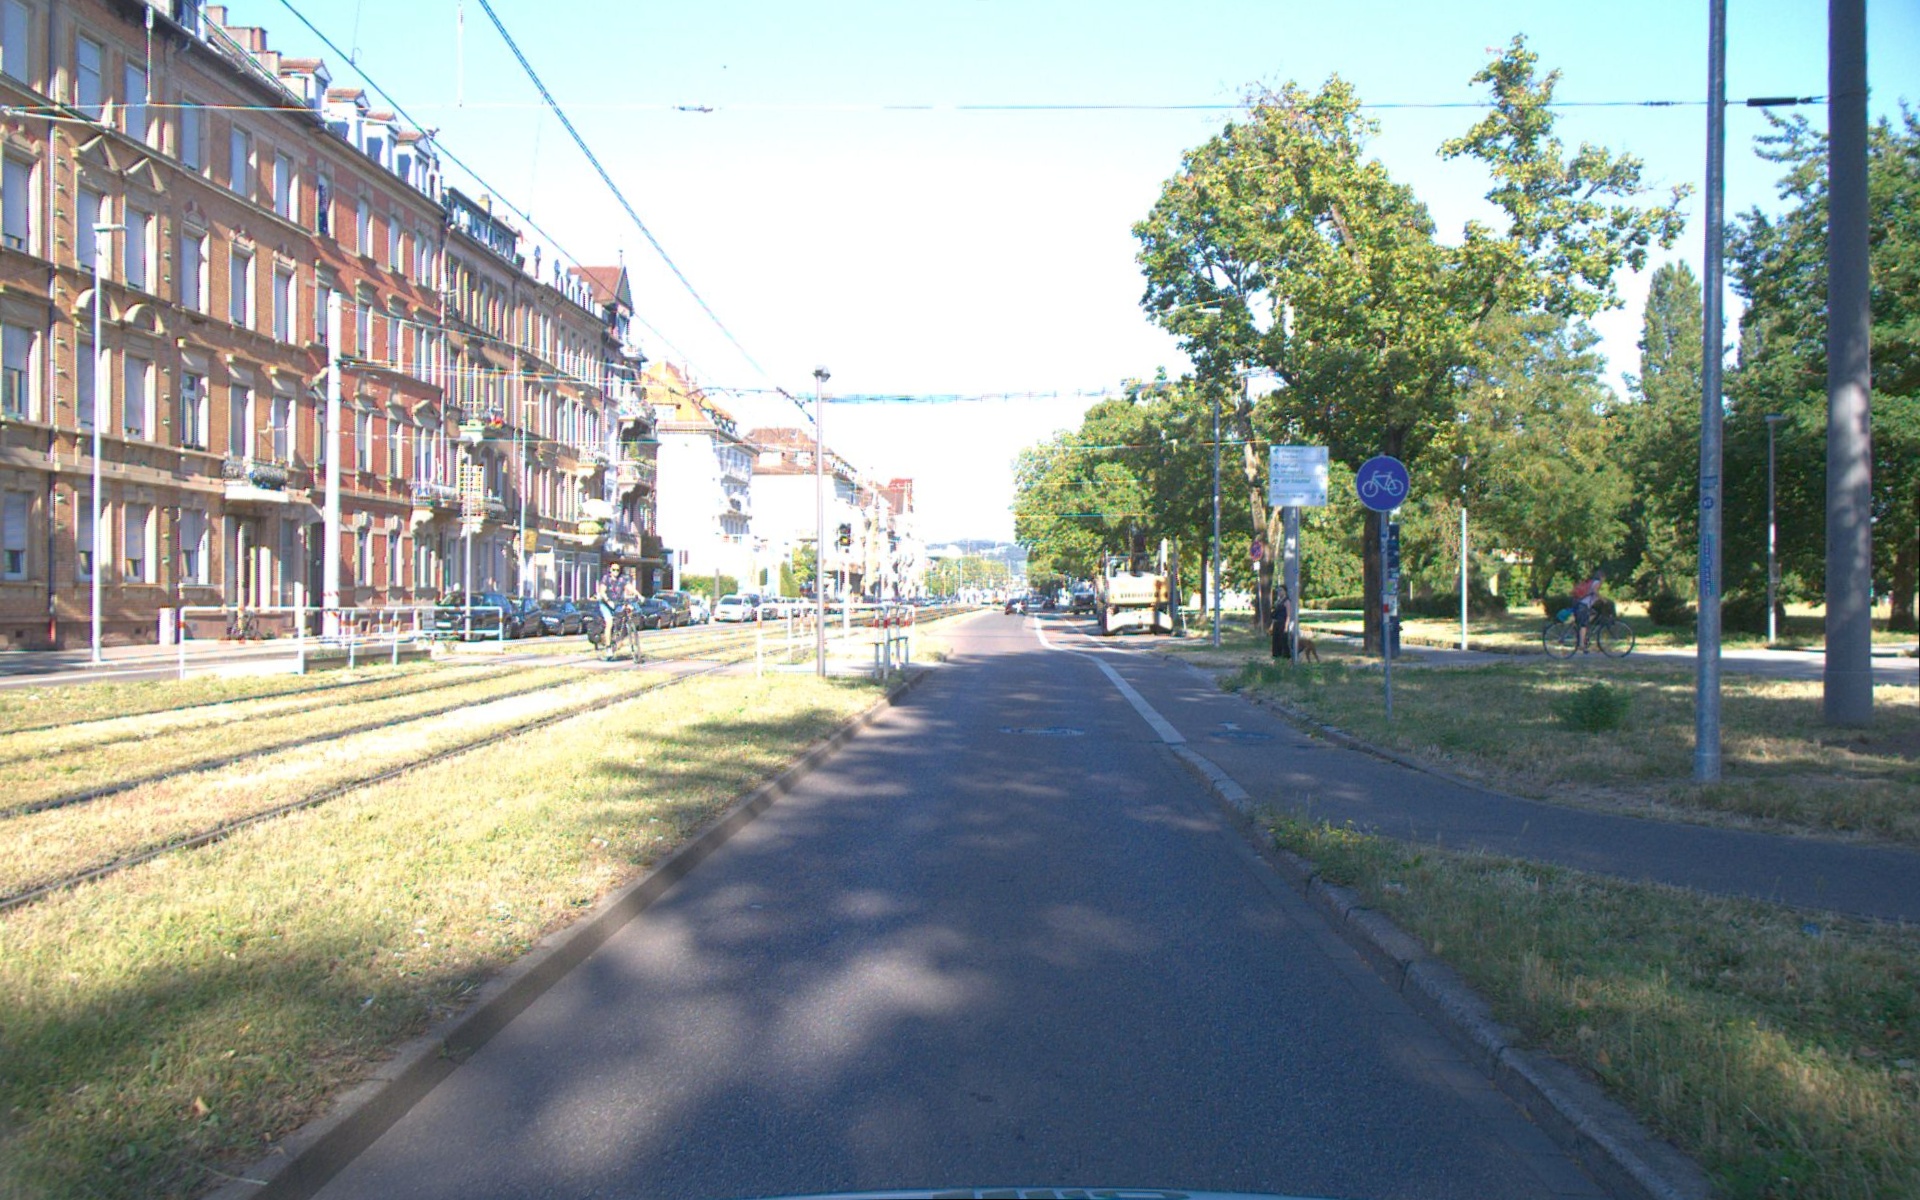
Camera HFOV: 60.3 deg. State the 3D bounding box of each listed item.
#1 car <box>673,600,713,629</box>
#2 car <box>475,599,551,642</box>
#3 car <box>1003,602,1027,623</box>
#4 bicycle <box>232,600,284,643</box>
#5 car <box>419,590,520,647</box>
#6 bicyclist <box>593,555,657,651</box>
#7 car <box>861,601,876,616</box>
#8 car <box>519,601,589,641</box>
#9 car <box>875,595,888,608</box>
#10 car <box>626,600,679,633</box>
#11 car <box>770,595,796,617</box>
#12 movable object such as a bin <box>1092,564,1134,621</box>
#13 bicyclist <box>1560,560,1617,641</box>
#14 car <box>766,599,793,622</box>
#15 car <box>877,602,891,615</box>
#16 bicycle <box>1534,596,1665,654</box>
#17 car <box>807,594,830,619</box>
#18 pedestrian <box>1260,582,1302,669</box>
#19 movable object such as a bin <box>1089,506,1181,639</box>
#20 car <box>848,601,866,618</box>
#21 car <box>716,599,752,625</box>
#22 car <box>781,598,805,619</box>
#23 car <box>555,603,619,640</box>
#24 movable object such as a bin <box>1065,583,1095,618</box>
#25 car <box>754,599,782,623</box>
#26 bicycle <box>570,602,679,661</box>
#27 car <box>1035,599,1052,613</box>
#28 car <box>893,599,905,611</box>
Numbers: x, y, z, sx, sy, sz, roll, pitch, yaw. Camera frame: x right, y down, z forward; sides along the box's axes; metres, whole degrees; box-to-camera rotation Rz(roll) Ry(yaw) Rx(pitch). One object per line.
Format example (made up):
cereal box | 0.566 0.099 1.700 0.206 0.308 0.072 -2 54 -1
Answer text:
car | -15.252 0.816 94.617 1.530 1.483 3.666 2 1 2
car | -16.698 0.762 61.946 1.738 1.492 3.532 2 0 2
car | 4.697 1.078 140.976 1.952 1.713 4.001 2 0 2
bicycle | -20.701 0.628 48.790 0.684 1.201 1.751 2 0 3
car | -16.893 0.595 57.185 1.974 1.784 4.559 2 1 2
bicyclist | -6.222 0.051 30.749 0.901 1.745 0.766 0 0 26
car | -10.837 1.004 195.981 1.495 1.588 3.224 2 1 2
car | -16.385 0.826 66.903 1.740 1.431 3.910 2 1 2
car | -10.535 0.151 221.785 1.495 1.638 3.224 2 1 2
car | -15.232 0.801 82.100 1.740 1.431 3.980 2 1 2
car | -13.709 0.486 128.226 1.495 1.588 3.224 2 1 2
movable object such as a bin | 8.559 -0.403 92.668 1.927 3.065 4.797 -3 0 2
bicyclist | 11.908 0.006 31.341 0.884 1.522 0.767 0 0 10
car | -13.562 0.809 124.267 1.495 1.588 3.224 2 1 2
car | -9.784 1.052 212.889 1.495 1.588 3.224 2 1 2
bicycle | 12.085 0.465 31.305 2.211 1.059 0.767 0 0 10
car | -13.002 0.562 152.464 1.624 2.177 3.526 2 1 2
pedestrian | 6.384 0.503 32.958 0.647 1.676 0.863 -2 -1 3
movable object such as a bin | 7.349 -1.104 70.565 3.023 5.177 8.894 -2 0 2
car | -10.751 0.983 173.163 1.495 1.588 3.224 2 1 2
car | -14.661 0.768 107.454 1.705 1.588 3.769 2 1 2
car | -13.450 0.703 133.169 1.495 1.588 3.224 2 1 2
car | -16.136 0.901 71.792 1.740 1.431 3.910 2 1 2
movable object such as a bin | 10.706 0.050 147.890 2.416 2.956 4.001 -3 0 2
car | -13.652 0.787 117.728 1.495 1.588 3.224 2 1 2
bicycle | -6.244 0.578 30.769 1.914 1.059 0.766 0 0 26
car | 11.968 0.807 237.019 1.954 1.892 3.997 2 0 -4
car | -8.810 0.765 238.984 1.495 1.638 3.224 2 1 2
